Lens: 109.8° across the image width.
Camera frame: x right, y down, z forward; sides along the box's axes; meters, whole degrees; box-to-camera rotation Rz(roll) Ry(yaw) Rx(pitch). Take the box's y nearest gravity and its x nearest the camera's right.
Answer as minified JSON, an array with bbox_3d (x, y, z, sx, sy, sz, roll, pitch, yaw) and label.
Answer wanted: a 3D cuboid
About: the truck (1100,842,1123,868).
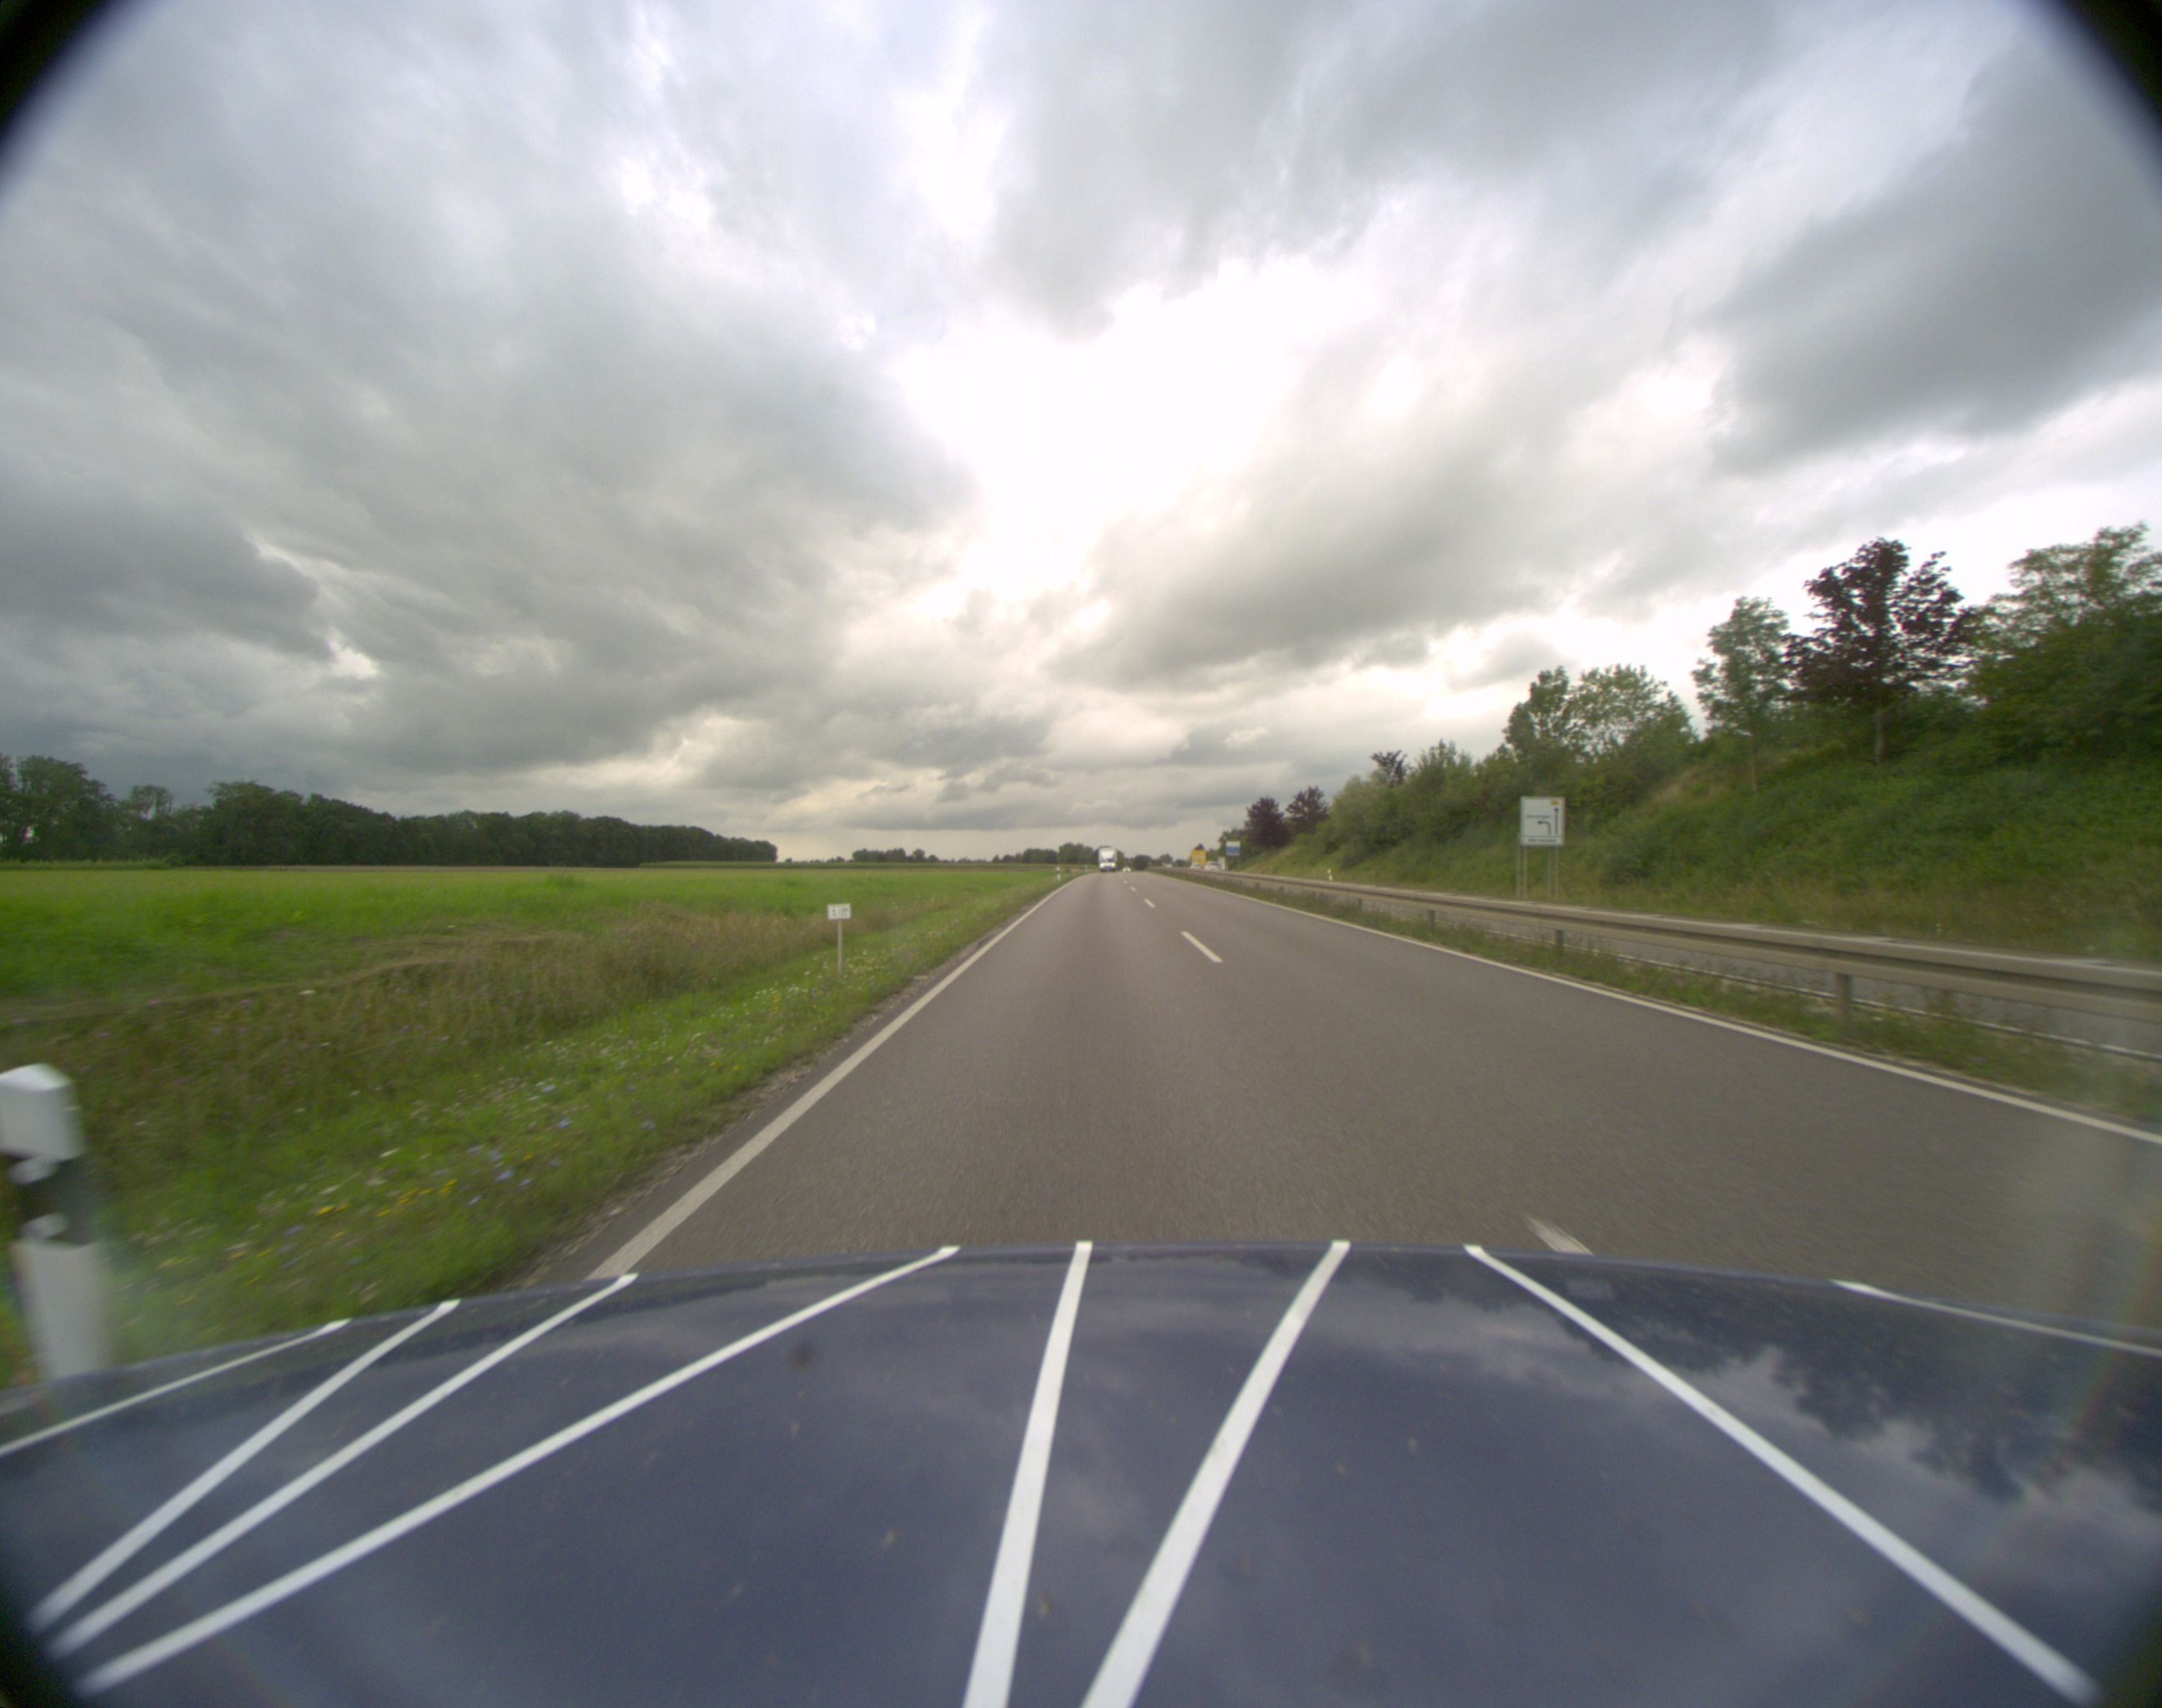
[{"bbox_3d":[4.591,0.186,113.582,2.933,3.651,8.449,0,-2,6],"label":"truck"}]

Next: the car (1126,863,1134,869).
[{"bbox_3d":[13.199,3.281,205.583,2.090,1.509,4.196,0,-2,6],"label":"car"}]

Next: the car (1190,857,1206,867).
[{"bbox_3d":[18.731,1.288,121.595,1.998,1.508,4.990,0,-2,2],"label":"car"}]

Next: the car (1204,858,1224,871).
[{"bbox_3d":[17.132,1.390,98.291,1.925,1.508,4.465,0,-2,1],"label":"car"}]
